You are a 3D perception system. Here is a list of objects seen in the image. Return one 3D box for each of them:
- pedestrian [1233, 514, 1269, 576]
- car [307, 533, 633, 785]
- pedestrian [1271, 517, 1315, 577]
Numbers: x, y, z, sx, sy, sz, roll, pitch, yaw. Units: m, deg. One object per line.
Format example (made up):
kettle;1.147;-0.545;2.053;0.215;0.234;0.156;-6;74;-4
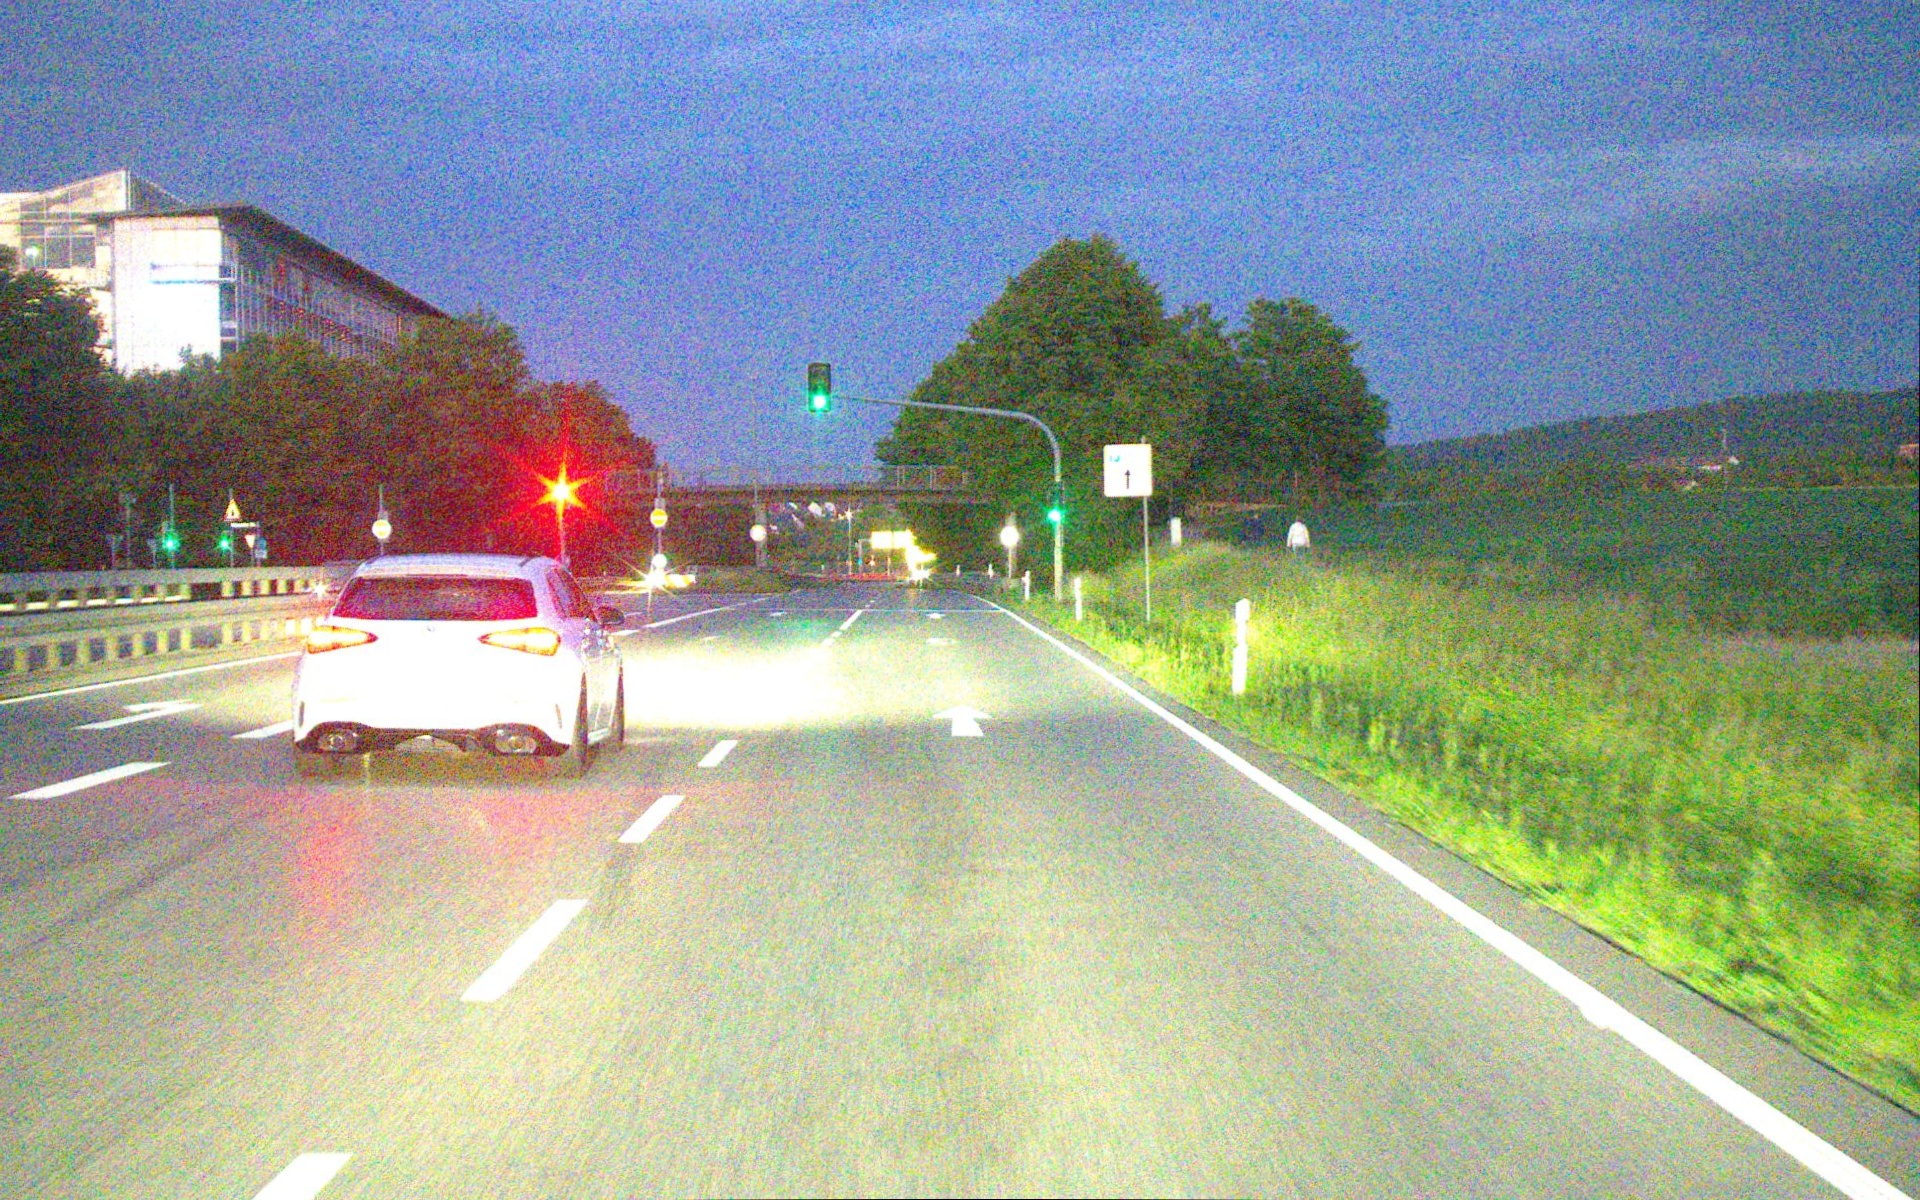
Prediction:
pedestrian;8.407;-1.594;99.272;0.921;1.787;1.106;1;1;-1
car;-3.171;0.311;23.005;1.642;1.485;4.580;1;1;-2
pedestrian;9.592;-1.529;99.021;1.090;1.717;1.260;1;1;-1
